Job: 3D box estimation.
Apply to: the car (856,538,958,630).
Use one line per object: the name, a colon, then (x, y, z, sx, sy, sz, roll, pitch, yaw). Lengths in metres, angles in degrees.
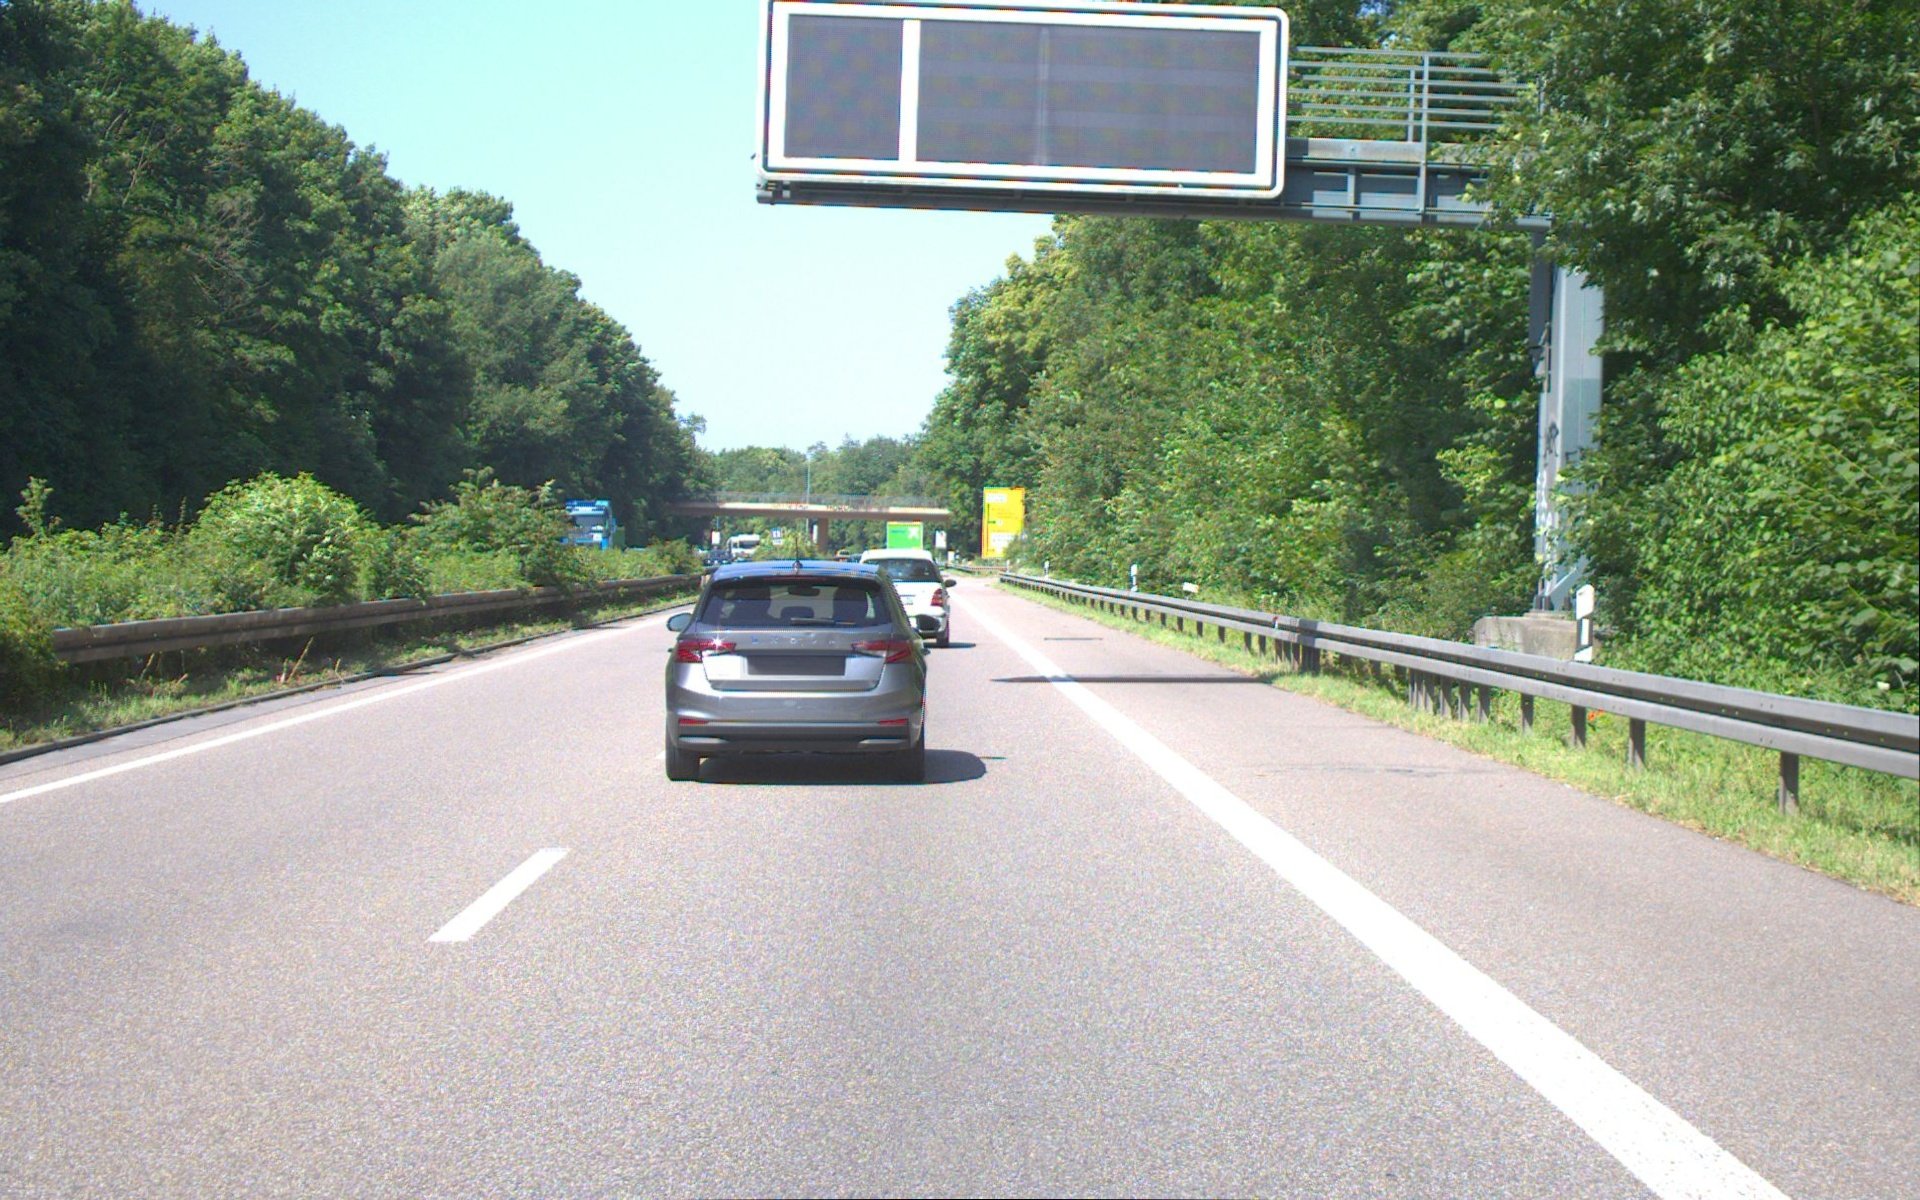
car: (-0.838, -0.282, 55.840, 1.522, 1.442, 3.340, 1, 1, 1)

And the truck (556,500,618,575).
truck: (-18.768, -3.115, 173.258, 2.646, 3.693, 4.000, 1, 0, 0)

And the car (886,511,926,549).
car: (-3.848, -4.965, 244.770, 2.748, 2.645, 4.000, 1, 1, -1)

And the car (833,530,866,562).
car: (-7.085, -3.459, 220.559, 1.993, 2.007, 4.000, 1, 1, -1)

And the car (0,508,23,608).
car: (-16.751, -0.705, 56.512, 1.692, 1.656, 4.000, 1, 1, -2)

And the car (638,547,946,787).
car: (-1.062, 0.395, 23.374, 1.840, 1.467, 3.623, 1, 1, 1)
